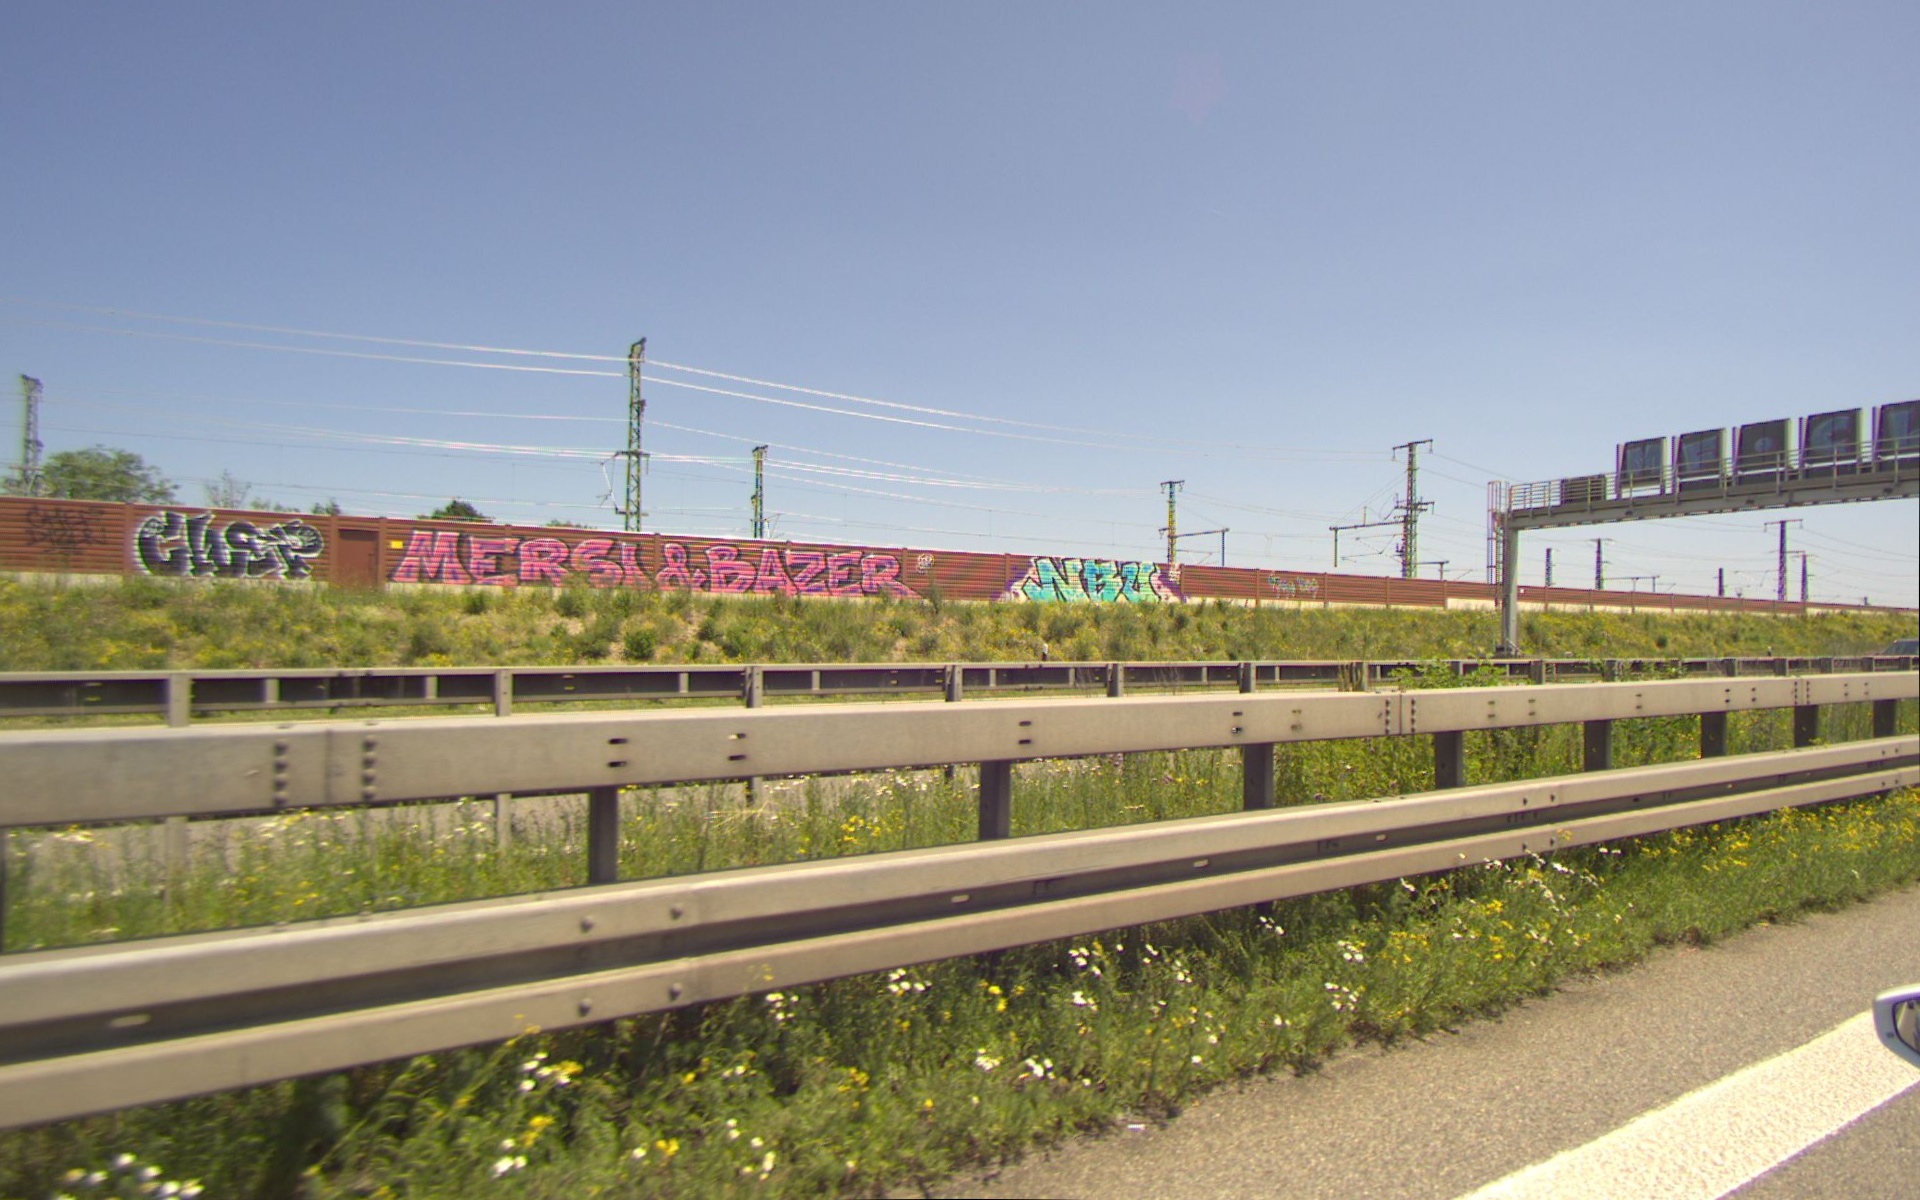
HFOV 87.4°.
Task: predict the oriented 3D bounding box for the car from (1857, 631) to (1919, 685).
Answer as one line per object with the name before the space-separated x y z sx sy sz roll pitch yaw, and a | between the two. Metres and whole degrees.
car | 30.377 1.796 31.810 3.952 1.595 1.795 1 0 -30
